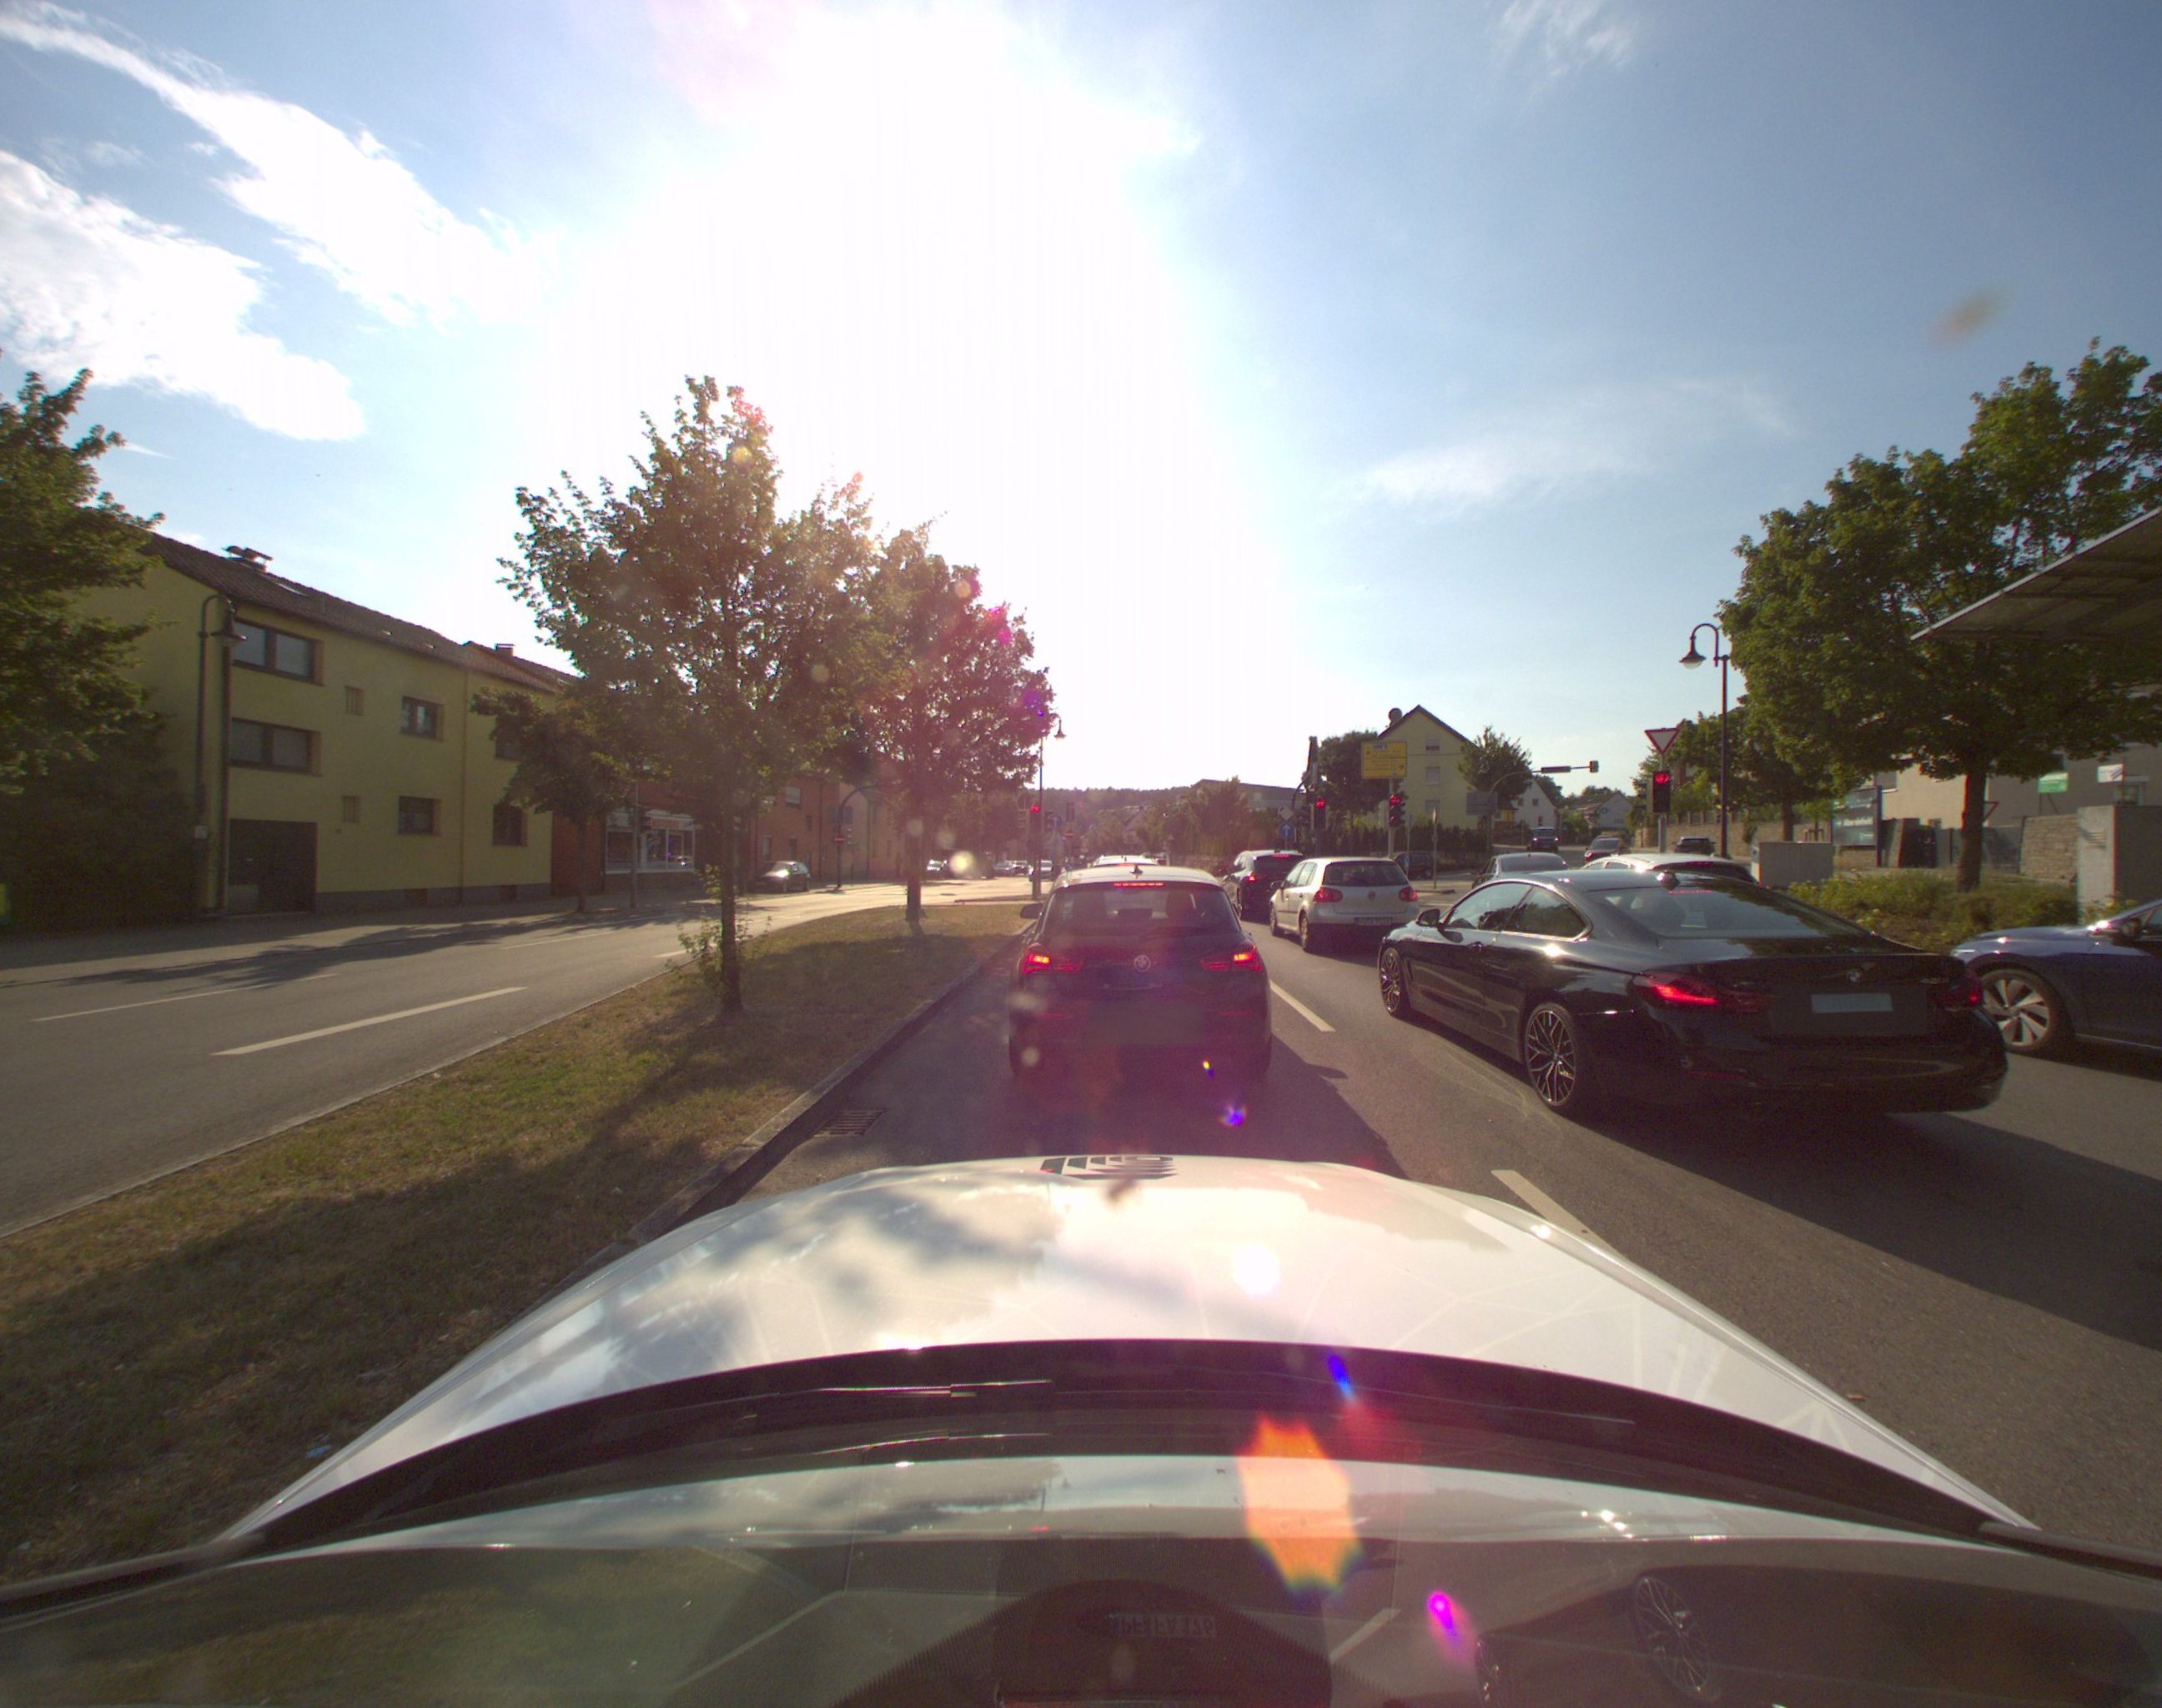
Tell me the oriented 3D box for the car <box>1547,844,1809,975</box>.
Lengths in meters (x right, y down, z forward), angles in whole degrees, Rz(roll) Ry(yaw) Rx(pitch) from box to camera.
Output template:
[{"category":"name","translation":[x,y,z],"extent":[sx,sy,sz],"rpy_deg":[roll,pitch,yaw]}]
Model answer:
[{"category":"car","translation":[8.105,0.670,11.451],"extent":[1.608,1.542,3.326],"rpy_deg":[-2,0,9]}]

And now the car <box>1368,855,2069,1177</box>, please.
[{"category":"car","translation":[3.614,0.738,5.809],"extent":[1.755,1.397,4.283],"rpy_deg":[-2,0,2]}]

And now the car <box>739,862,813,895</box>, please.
[{"category":"car","translation":[-14.142,1.110,38.020],"extent":[1.730,1.301,4.002],"rpy_deg":[4,0,2]}]

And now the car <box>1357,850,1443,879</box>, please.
[{"category":"car","translation":[17.343,0.572,44.346],"extent":[3.974,1.489,1.848],"rpy_deg":[0,0,-1]}]

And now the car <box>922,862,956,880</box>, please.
[{"category":"car","translation":[-11.745,1.422,67.582],"extent":[1.728,1.301,4.006],"rpy_deg":[4,0,6]}]

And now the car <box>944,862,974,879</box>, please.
[{"category":"car","translation":[-11.048,1.467,73.845],"extent":[1.729,1.301,4.005],"rpy_deg":[4,0,5]}]

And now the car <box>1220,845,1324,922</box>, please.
[{"category":"car","translation":[4.564,0.649,20.032],"extent":[1.755,1.656,3.905],"rpy_deg":[-2,0,2]}]

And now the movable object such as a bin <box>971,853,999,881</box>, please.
[{"category":"movable object such as a bin","translation":[-8.607,1.133,73.042],"extent":[1.729,2.442,4.452],"rpy_deg":[-1,0,3]}]

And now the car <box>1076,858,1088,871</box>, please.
[{"category":"car","translation":[0.230,2.012,154.841],"extent":[2.076,2.394,5.531],"rpy_deg":[0,-1,2]}]

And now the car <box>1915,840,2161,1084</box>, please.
[{"category":"car","translation":[7.410,0.650,4.290],"extent":[1.754,1.453,4.323],"rpy_deg":[-2,0,4]}]

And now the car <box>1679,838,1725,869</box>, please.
[{"category":"car","translation":[35.614,-0.032,46.653],"extent":[1.946,1.680,4.242],"rpy_deg":[-2,0,39]}]

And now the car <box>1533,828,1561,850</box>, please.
[{"category":"car","translation":[37.363,-1.162,65.354],"extent":[1.825,1.739,4.813],"rpy_deg":[0,0,28]}]

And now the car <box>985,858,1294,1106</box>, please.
[{"category":"car","translation":[0.436,0.770,6.955],"extent":[1.781,1.397,4.283],"rpy_deg":[-2,0,2]}]

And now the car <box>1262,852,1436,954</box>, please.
[{"category":"car","translation":[4.316,0.715,13.750],"extent":[1.755,1.426,3.905],"rpy_deg":[-2,0,2]}]

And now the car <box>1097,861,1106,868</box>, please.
[{"category":"car","translation":[4.827,2.395,188.223],"extent":[1.729,1.301,3.804],"rpy_deg":[4,0,5]}]

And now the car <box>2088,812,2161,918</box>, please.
[{"category":"car","translation":[18.488,0.159,12.371],"extent":[3.793,1.632,1.784],"rpy_deg":[0,0,10]}]

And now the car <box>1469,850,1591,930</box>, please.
[{"category":"car","translation":[9.877,0.713,18.224],"extent":[1.642,1.542,4.420],"rpy_deg":[-2,0,19]}]

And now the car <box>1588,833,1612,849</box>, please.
[{"category":"car","translation":[59.431,-1.508,93.265],"extent":[1.945,1.680,4.242],"rpy_deg":[-2,0,38]}]

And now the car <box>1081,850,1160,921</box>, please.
[{"category":"car","translation":[1.016,0.739,21.138],"extent":[1.781,1.594,4.283],"rpy_deg":[-2,0,2]}]

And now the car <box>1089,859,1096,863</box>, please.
[{"category":"car","translation":[3.579,2.138,247.801],"extent":[1.729,1.301,3.804],"rpy_deg":[4,0,5]}]

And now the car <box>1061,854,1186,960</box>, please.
[{"category":"car","translation":[0.714,0.778,14.099],"extent":[1.781,1.494,4.283],"rpy_deg":[-2,0,2]}]

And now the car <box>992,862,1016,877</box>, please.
[{"category":"car","translation":[-7.825,1.561,83.188],"extent":[1.729,1.301,3.804],"rpy_deg":[4,0,5]}]

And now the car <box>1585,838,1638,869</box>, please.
[{"category":"car","translation":[29.777,-0.042,45.665],"extent":[1.825,1.641,4.458],"rpy_deg":[-1,0,42]}]

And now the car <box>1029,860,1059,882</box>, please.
[{"category":"car","translation":[-2.643,1.216,59.173],"extent":[1.832,1.482,4.002],"rpy_deg":[-1,0,2]}]

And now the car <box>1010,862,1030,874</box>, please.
[{"category":"car","translation":[-7.102,1.635,95.493],"extent":[1.729,1.301,3.804],"rpy_deg":[4,0,5]}]
